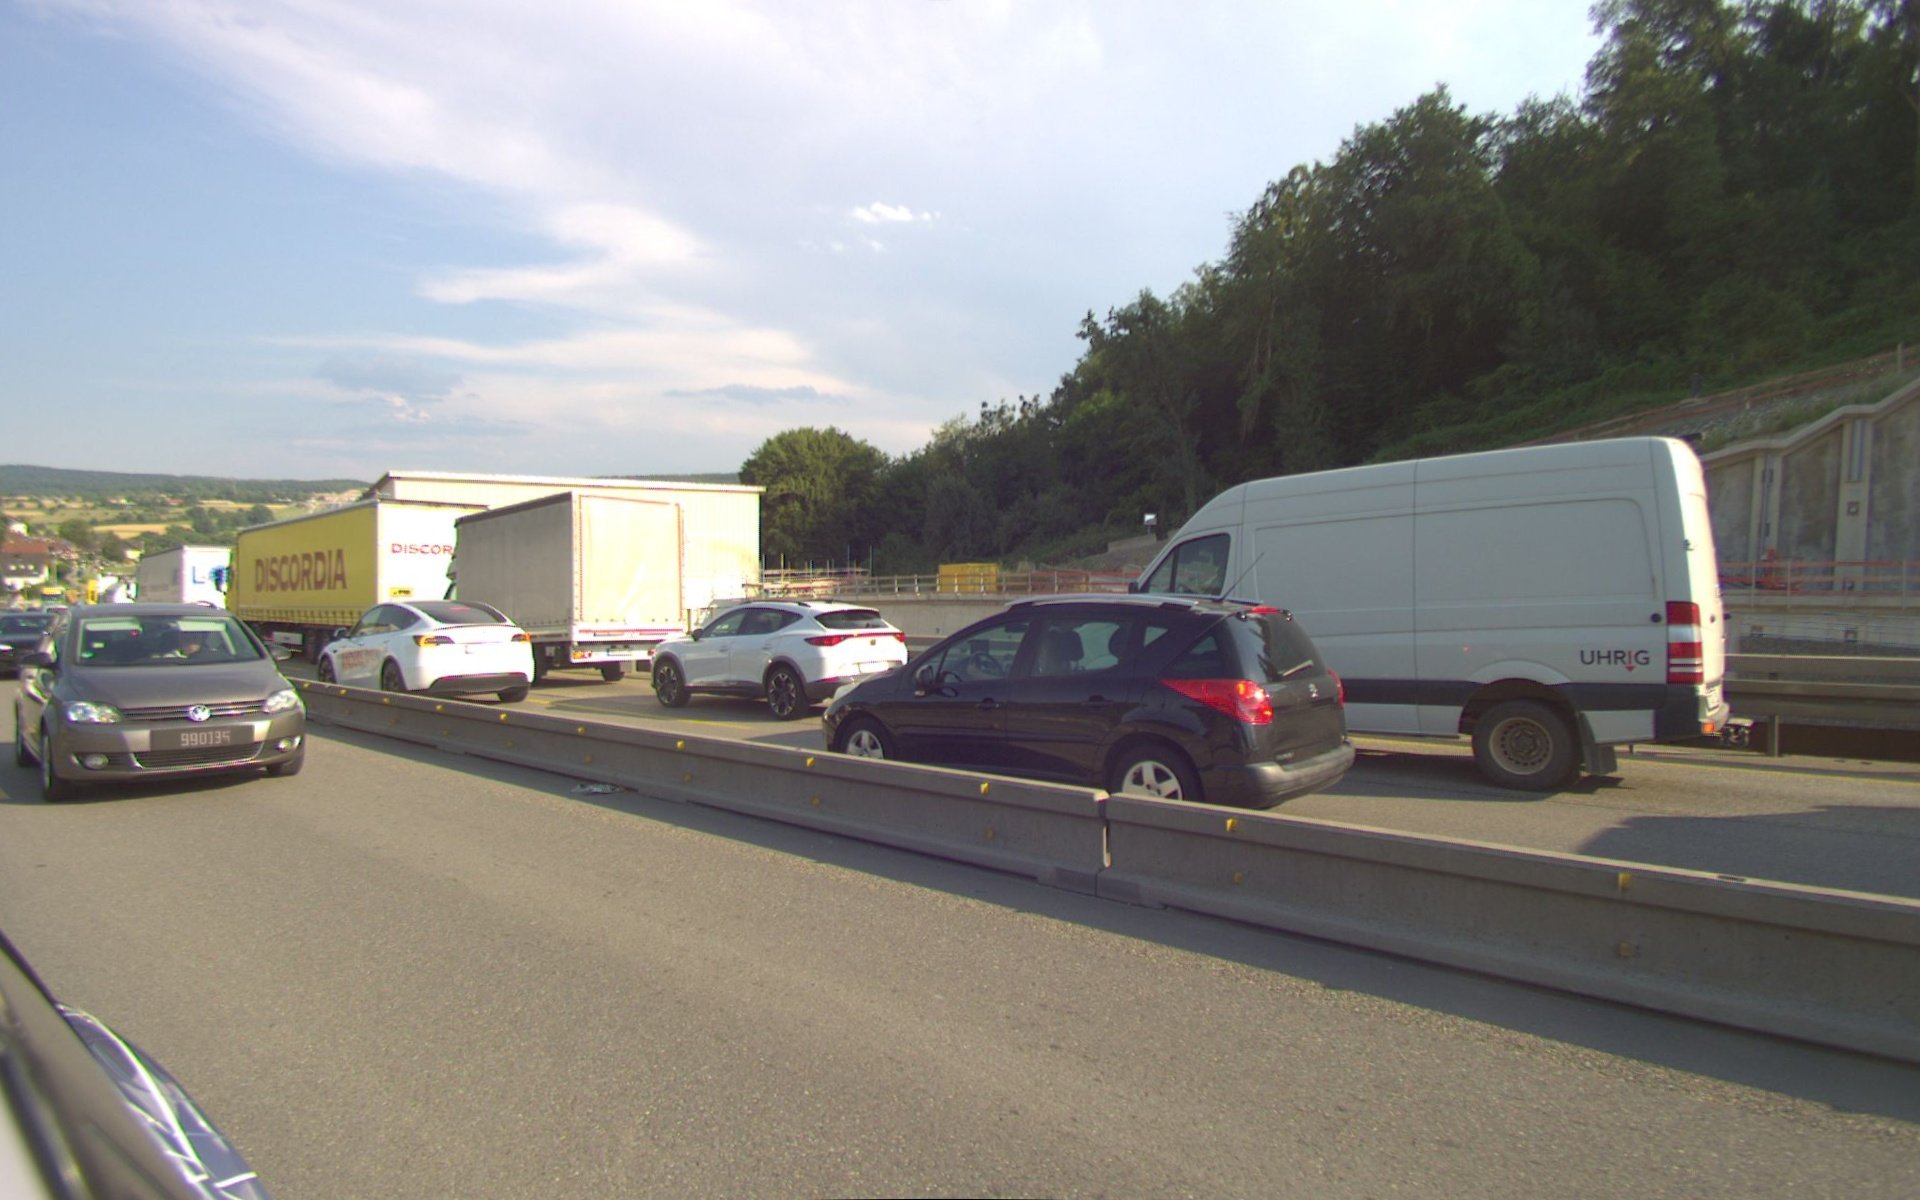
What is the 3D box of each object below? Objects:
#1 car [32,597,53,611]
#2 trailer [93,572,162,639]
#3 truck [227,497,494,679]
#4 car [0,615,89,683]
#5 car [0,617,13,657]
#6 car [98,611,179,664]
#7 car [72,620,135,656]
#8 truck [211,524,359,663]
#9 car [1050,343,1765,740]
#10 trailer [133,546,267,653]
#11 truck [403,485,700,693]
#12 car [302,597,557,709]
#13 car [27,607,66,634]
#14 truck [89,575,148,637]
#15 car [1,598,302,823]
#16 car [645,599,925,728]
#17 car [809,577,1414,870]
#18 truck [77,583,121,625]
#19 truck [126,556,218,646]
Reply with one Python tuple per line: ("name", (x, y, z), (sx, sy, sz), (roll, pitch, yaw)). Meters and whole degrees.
("car", (-143.791, 0.574, 158.509), (4.751, 2.015, 1.798), (-2, -3, 40))
("trailer", (-52.730, 0.365, 63.971), (2.567, 3.910, 10.585), (0, -1, -44))
("truck", (-17.547, -0.208, 28.760), (14.154, 4.119, 2.678), (-1, -1, 43))
("car", (-21.205, 1.052, 22.998), (1.841, 1.409, 4.002), (1, -1, -45))
("car", (-35.801, 1.367, 36.968), (1.674, 1.409, 4.003), (-2, 0, -44))
("car", (-26.019, 1.134, 32.010), (1.635, 1.535, 4.290), (-1, 0, -44))
("car", (-38.152, 1.642, 45.038), (1.787, 1.436, 4.676), (-1, 0, -45))
("truck", (-22.163, -0.162, 33.107), (6.101, 4.119, 2.683), (-1, -1, 43))
("car", (3.719, -0.369, 9.370), (5.747, 2.640, 1.936), (0, -1, 42))
("trailer", (-33.656, 0.020, 44.462), (2.825, 4.066, 13.978), (0, -1, -45))
("truck", (-8.480, -0.142, 20.401), (7.614, 3.489, 2.421), (-1, -1, 41))
("car", (-8.475, 0.832, 15.969), (4.725, 1.498, 2.036), (-2, -4, 42))
("car", (-65.759, 1.456, 72.832), (1.841, 1.925, 4.002), (1, -1, -45))
("truck", (-56.212, 0.409, 67.580), (2.569, 3.917, 6.208), (0, -1, -44))
("car", (-7.504, 0.800, 9.239), (4.101, 1.585, 1.665), (-1, 0, 44))
("car", (-2.545, 0.785, 14.173), (4.001, 1.535, 1.745), (-1, 0, 42))
("car", (0.900, 0.698, 7.352), (3.998, 1.533, 1.763), (-2, 0, 42))
("truck", (-80.998, 0.370, 95.135), (2.858, 3.738, 9.501), (1, 0, -42))
("truck", (-38.365, 0.077, 49.203), (2.811, 4.066, 6.104), (0, -1, -45))
